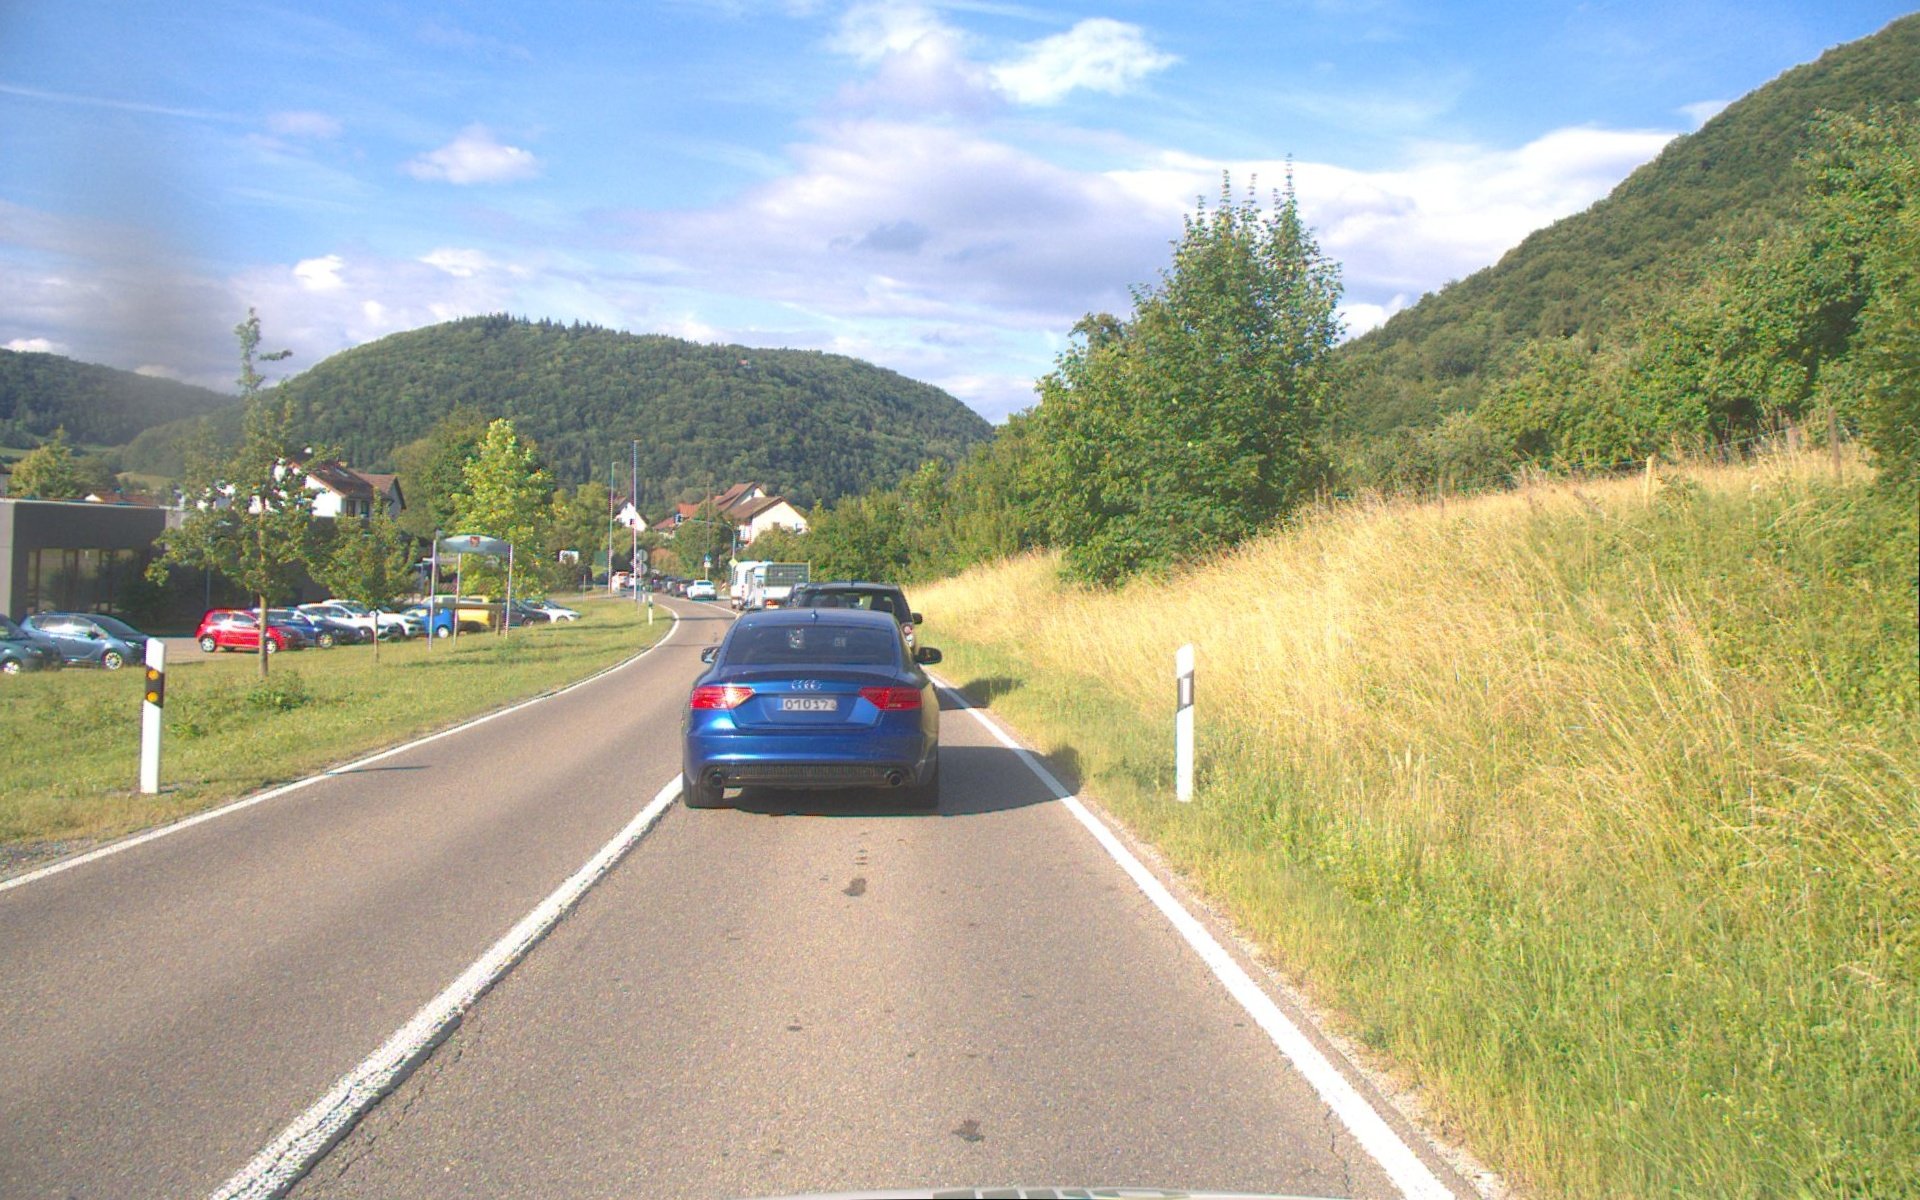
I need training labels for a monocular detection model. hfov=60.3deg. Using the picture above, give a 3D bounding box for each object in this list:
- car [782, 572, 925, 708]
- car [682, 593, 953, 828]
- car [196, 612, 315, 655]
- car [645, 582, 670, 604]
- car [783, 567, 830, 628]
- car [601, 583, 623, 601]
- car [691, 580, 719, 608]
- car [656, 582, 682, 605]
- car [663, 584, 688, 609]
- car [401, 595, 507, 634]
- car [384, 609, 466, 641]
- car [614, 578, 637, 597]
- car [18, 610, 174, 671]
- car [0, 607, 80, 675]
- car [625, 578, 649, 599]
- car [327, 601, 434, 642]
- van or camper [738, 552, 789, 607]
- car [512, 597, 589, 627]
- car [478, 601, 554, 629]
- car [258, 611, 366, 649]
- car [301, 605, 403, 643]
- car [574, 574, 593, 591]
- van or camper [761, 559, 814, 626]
[{"bbox_3d":[-1.507,0.492,22.248,1.615,1.653,3.510,2,0,-8],"label":"car"},{"bbox_3d":[-1.064,0.690,12.286,1.708,1.476,3.513,0,0,-5],"label":"car"},{"bbox_3d":[-25.251,1.185,59.335,3.548,1.469,1.649,0,0,4],"label":"car"},{"bbox_3d":[-27.596,-0.650,150.971,1.652,1.958,3.977,-1,0,-20],"label":"car"},{"bbox_3d":[-5.335,-0.099,57.402,1.537,2.049,3.995,-1,0,-5],"label":"car"},{"bbox_3d":[-37.857,-0.892,180.009,1.924,1.958,3.980,-1,0,-18],"label":"car"},{"bbox_3d":[-18.439,-0.419,119.500,1.631,1.958,3.986,-1,0,-13],"label":"car"},{"bbox_3d":[-24.874,-0.562,141.119,1.634,1.958,3.979,-1,0,-18],"label":"car"},{"bbox_3d":[-22.518,-0.260,130.827,1.632,1.958,3.984,-1,0,-15],"label":"car"},{"bbox_3d":[-24.297,0.691,79.500,4.457,1.846,1.842,0,0,4],"label":"car"},{"bbox_3d":[-24.822,1.151,76.849,3.302,1.397,1.659,0,0,-4],"label":"car"},{"bbox_3d":[-34.984,-1.292,172.757,1.654,1.958,3.972,-1,0,-23],"label":"car"},{"bbox_3d":[-25.660,1.195,49.200,3.738,1.752,1.733,0,0,3],"label":"car"},{"bbox_3d":[-26.092,1.084,44.573,3.782,1.752,1.756,1,0,1],"label":"car"},{"bbox_3d":[-31.990,-1.131,163.662,1.653,1.958,3.974,-1,0,-22],"label":"car"},{"bbox_3d":[-24.863,0.921,71.003,3.991,1.702,1.597,0,0,4],"label":"car"},{"bbox_3d":[-10.227,-1.033,85.869,2.240,2.761,5.752,-1,0,-11],"label":"van or camper"},{"bbox_3d":[-23.274,0.687,94.049,3.950,1.689,1.656,0,0,4],"label":"car"},{"bbox_3d":[-24.035,0.828,89.554,3.634,1.464,1.510,0,0,4],"label":"car"},{"bbox_3d":[-25.176,1.158,64.315,3.548,1.429,1.598,0,1,4],"label":"car"},{"bbox_3d":[-24.852,0.974,67.658,3.589,1.520,1.597,0,0,4],"label":"car"},{"bbox_3d":[-43.986,-2.026,193.413,1.653,1.958,3.975,-1,0,-21],"label":"car"},{"bbox_3d":[-6.992,-0.290,66.606,2.013,2.549,5.802,-1,0,-7],"label":"van or camper"}]
